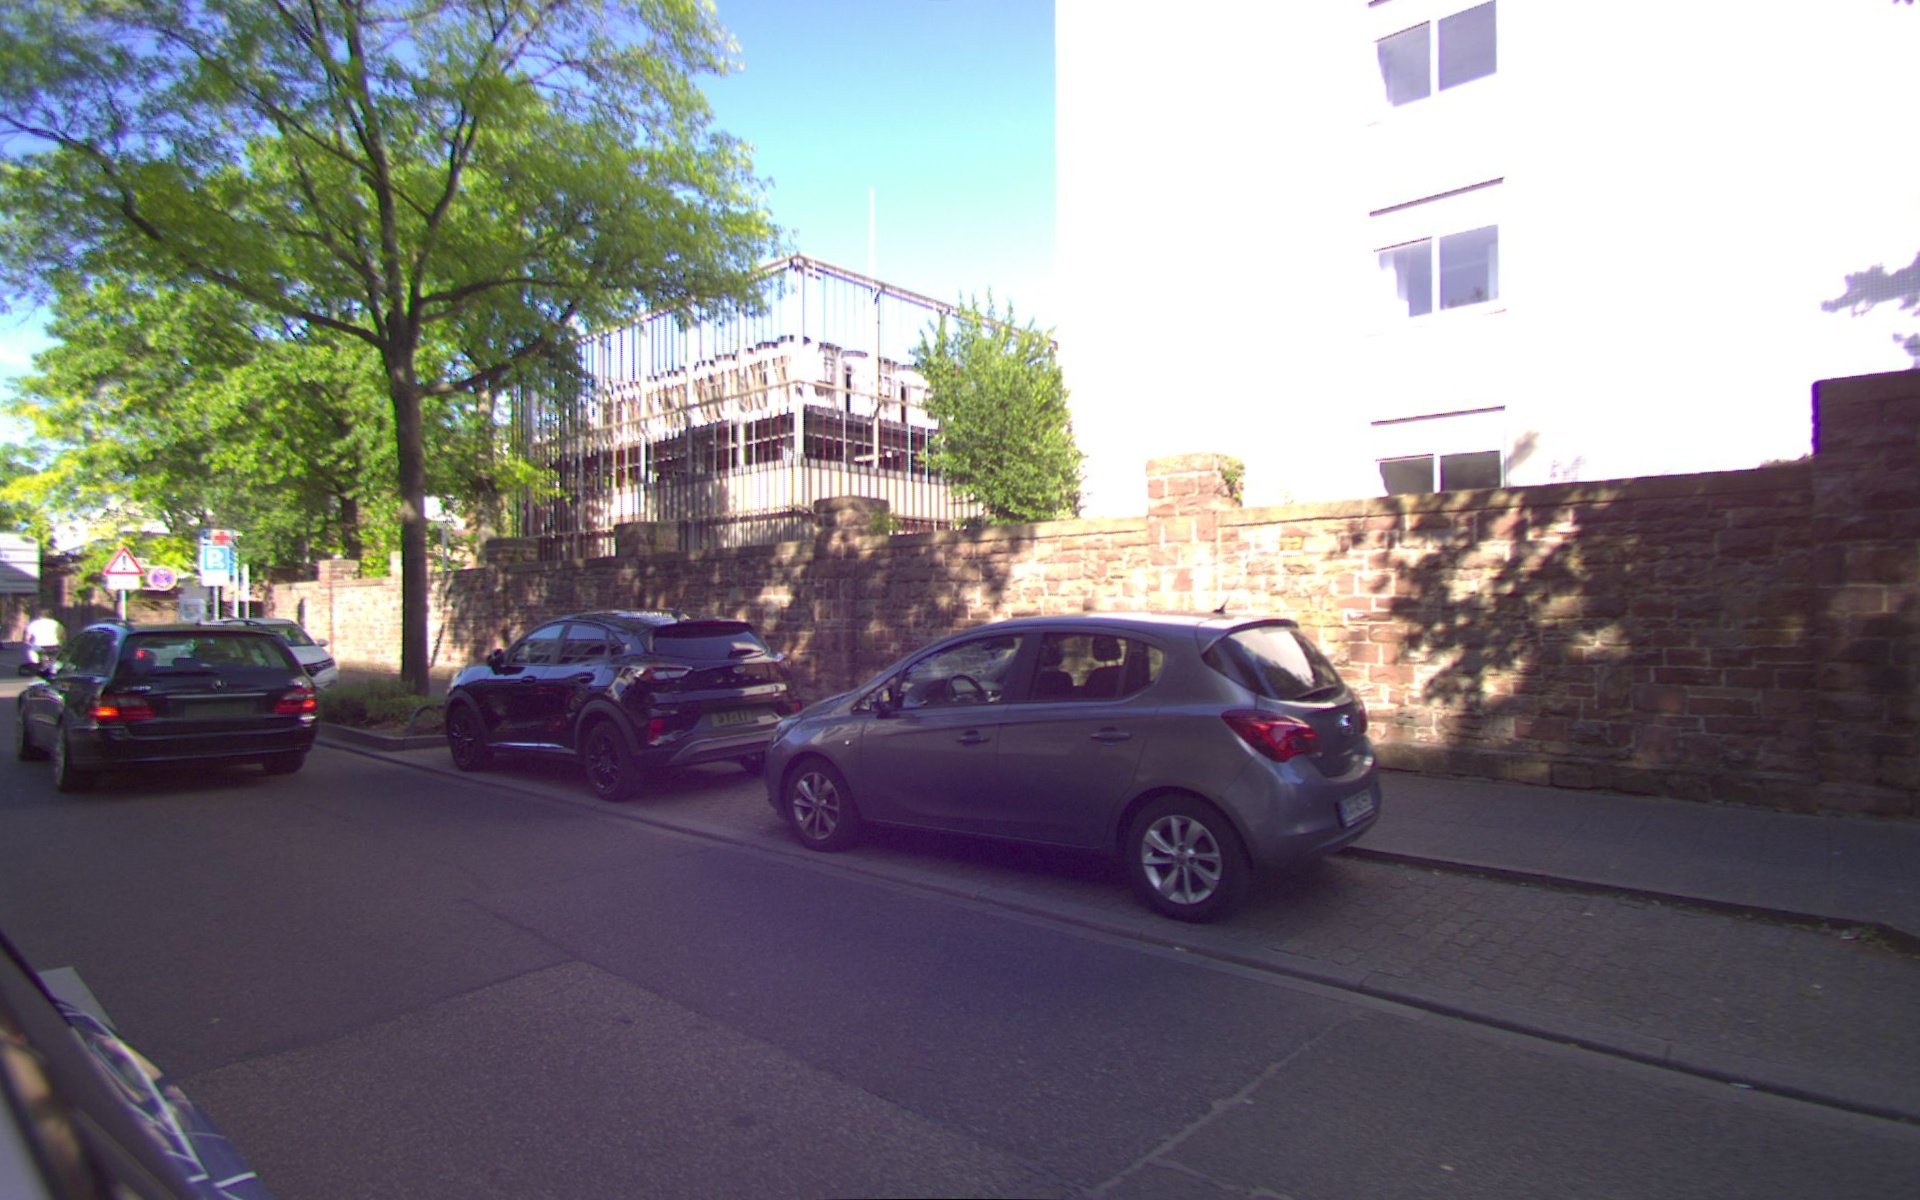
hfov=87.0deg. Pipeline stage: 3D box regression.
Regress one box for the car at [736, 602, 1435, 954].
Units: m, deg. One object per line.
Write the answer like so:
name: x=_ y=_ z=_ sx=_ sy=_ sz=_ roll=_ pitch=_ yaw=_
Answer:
car: x=0.584 y=0.782 z=6.077 sx=3.832 sy=1.432 sz=1.671 roll=-1 pitch=0 yaw=37

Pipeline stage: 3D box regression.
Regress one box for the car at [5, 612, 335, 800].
car: x=-7.764 y=0.900 z=9.819 sx=3.968 sy=1.447 sz=1.802 roll=-2 pitch=-4 yaw=42

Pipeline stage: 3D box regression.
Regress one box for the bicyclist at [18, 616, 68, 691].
bicyclist: x=-19.675 y=1.133 z=21.705 sx=1.005 sy=1.534 sz=0.713 roll=-1 pitch=0 yaw=44

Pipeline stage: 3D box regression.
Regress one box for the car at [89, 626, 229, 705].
car: x=-16.901 y=1.317 z=21.295 sx=3.748 sy=1.412 sz=1.558 roll=-2 pitch=2 yaw=41

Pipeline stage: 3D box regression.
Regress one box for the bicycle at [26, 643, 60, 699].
bicycle: x=-19.618 y=1.495 z=21.639 sx=1.866 sy=1.129 sz=0.353 roll=-1 pitch=0 yaw=43

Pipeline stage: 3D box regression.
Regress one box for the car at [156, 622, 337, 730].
car: x=-12.218 y=1.201 z=17.240 sx=3.848 sy=1.522 sz=1.659 roll=-2 pitch=2 yaw=42

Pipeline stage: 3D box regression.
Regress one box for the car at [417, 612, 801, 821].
car: x=-3.398 y=0.901 z=9.396 sx=4.042 sy=1.526 sz=1.557 roll=-1 pitch=-1 yaw=41
